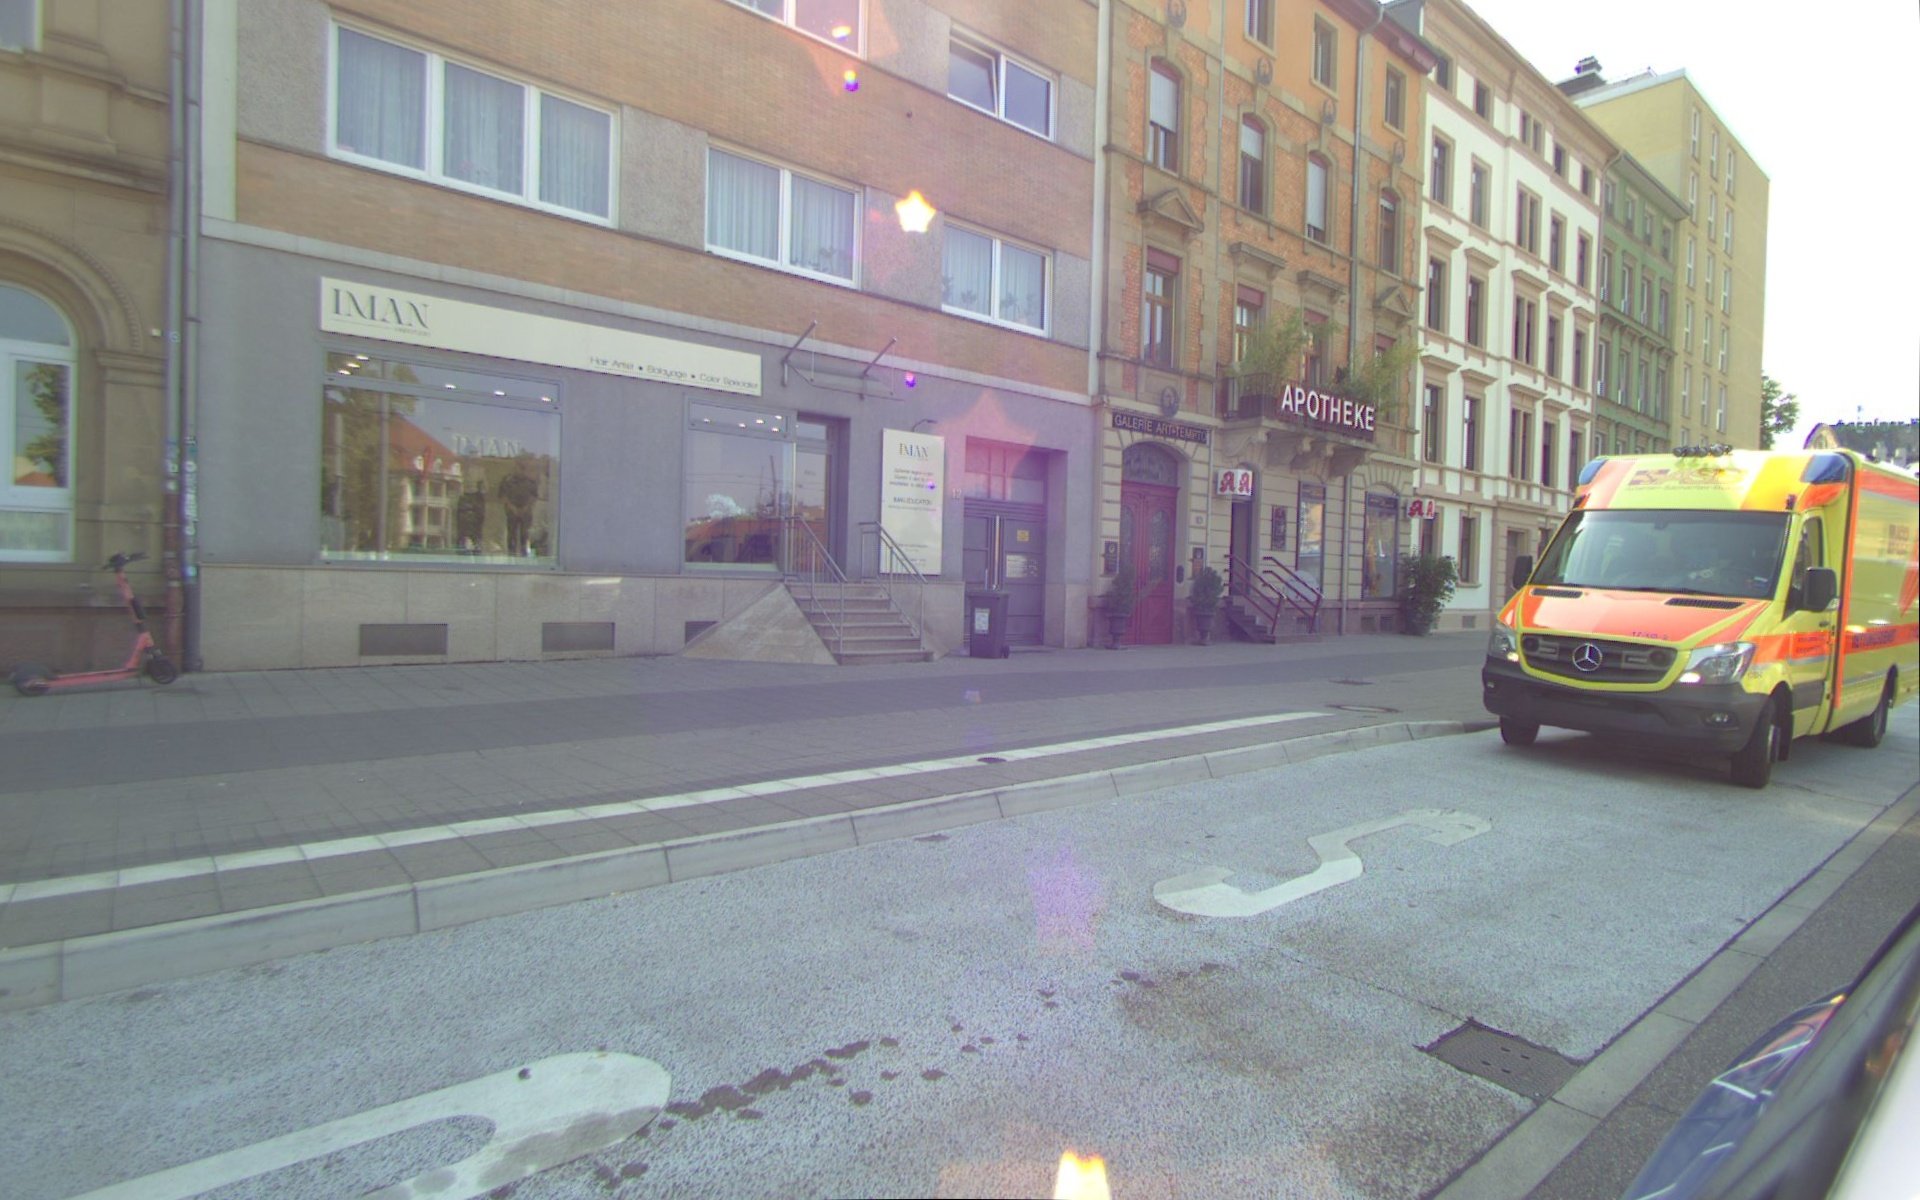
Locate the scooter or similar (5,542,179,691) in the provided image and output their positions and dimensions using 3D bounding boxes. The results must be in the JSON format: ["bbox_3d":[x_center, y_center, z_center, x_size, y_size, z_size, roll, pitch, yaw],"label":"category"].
[{"bbox_3d":[-7.635,0.129,8.922,0.476,1.227,1.124,3,2,45],"label":"scooter or similar"}]

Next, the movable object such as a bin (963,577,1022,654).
[{"bbox_3d":[0.508,0.225,15.670,0.640,1.118,0.723,3,2,24],"label":"movable object such as a bin"}]

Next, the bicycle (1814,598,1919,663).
[{"bbox_3d":[17.991,0.578,19.865,0.427,1.219,1.841,1,0,-39],"label":"bicycle"}]

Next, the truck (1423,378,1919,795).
[{"bbox_3d":[7.222,-0.167,9.631,6.221,2.803,2.336,0,4,-37],"label":"truck"}]

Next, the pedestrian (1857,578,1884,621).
[{"bbox_3d":[35.739,-0.032,39.724,0.783,1.648,0.645,0,2,-42],"label":"pedestrian"}]

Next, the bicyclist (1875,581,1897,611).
[{"bbox_3d":[50.647,-0.203,55.332,1.083,1.606,0.721,1,1,-40],"label":"bicyclist"}]

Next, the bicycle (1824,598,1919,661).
[{"bbox_3d":[18.674,0.579,20.422,0.427,1.235,1.841,1,0,-39],"label":"bicycle"}]
